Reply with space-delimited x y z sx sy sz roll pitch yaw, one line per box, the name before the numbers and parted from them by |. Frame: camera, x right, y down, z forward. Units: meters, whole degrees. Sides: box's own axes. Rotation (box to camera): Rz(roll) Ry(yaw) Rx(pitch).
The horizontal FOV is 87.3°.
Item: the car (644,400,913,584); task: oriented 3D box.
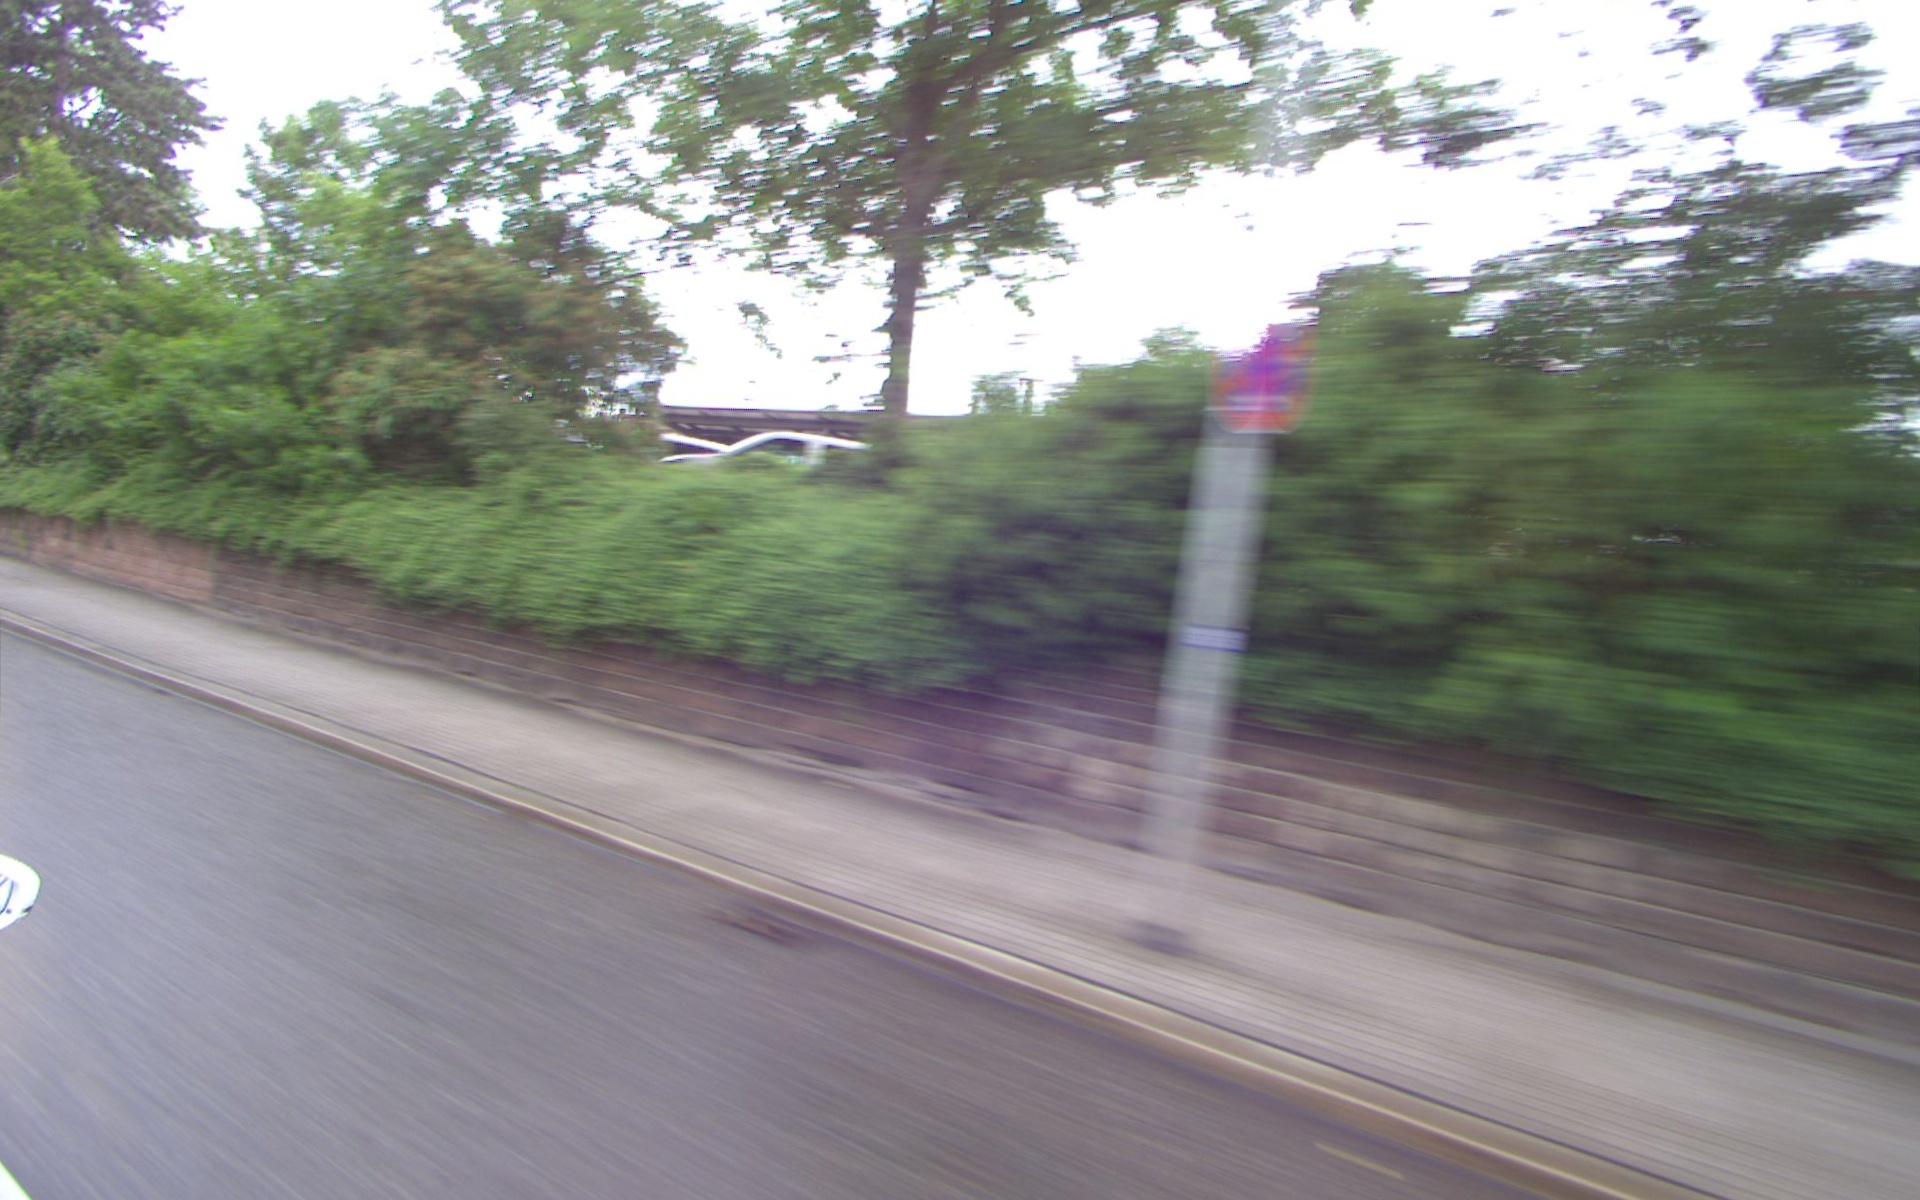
car | -3.069 -1.680 16.765 3.943 2.247 1.991 8 1 -19
